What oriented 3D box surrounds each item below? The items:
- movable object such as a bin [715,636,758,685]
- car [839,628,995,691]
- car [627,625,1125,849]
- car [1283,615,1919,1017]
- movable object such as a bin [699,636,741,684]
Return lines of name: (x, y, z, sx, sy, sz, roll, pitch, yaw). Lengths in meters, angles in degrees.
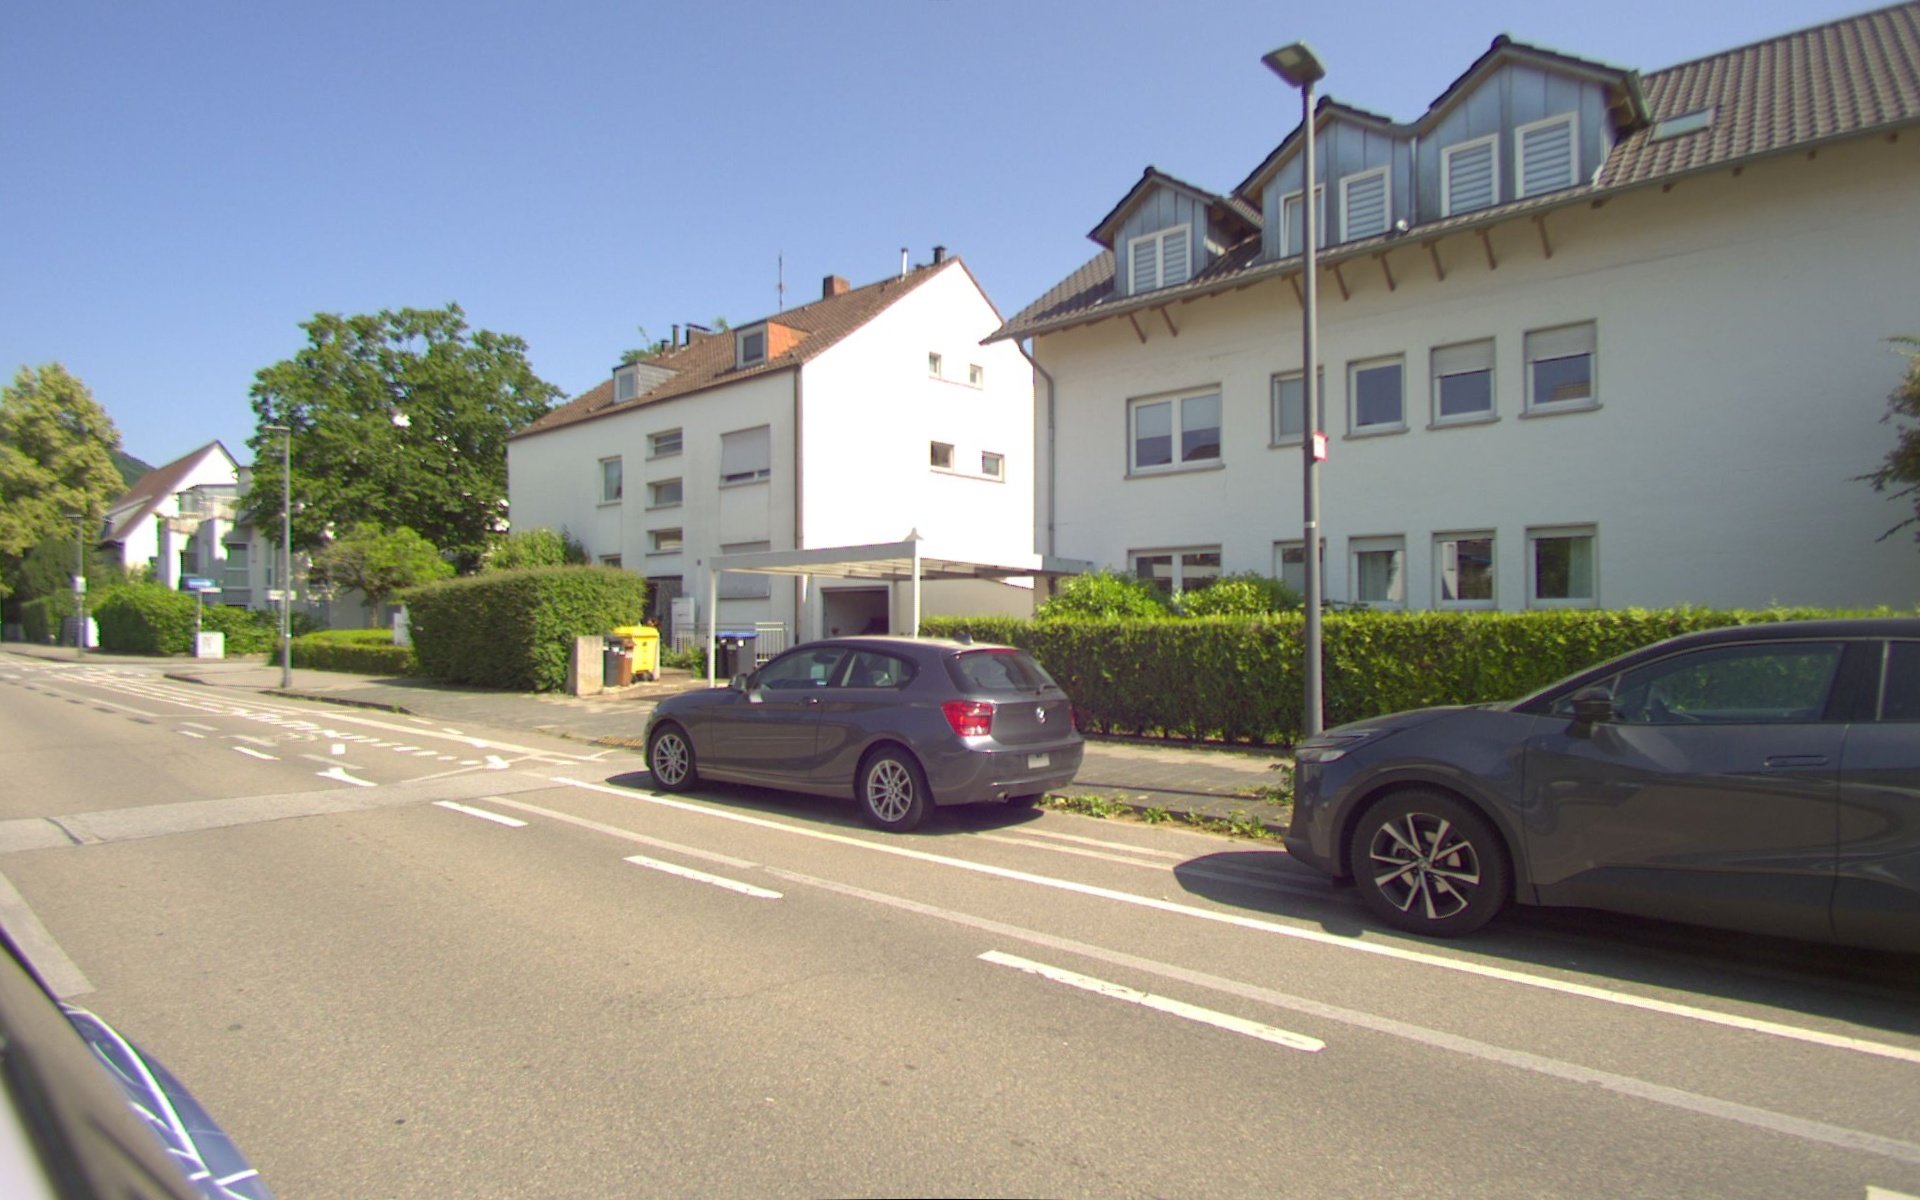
movable object such as a bin: (-5.206, 1.391, 23.577, 0.706, 1.100, 0.694, -1, -2, 37)
car: (-1.004, 1.437, 25.462, 1.897, 1.426, 3.950, -1, -2, 37)
car: (-0.853, 0.984, 8.599, 4.150, 1.451, 1.767, -2, -4, 39)
car: (3.795, 0.826, 4.569, 4.108, 1.451, 1.767, -2, -4, 41)
movable object such as a bin: (-5.675, 1.400, 23.944, 0.706, 1.100, 0.694, -1, -2, 37)
